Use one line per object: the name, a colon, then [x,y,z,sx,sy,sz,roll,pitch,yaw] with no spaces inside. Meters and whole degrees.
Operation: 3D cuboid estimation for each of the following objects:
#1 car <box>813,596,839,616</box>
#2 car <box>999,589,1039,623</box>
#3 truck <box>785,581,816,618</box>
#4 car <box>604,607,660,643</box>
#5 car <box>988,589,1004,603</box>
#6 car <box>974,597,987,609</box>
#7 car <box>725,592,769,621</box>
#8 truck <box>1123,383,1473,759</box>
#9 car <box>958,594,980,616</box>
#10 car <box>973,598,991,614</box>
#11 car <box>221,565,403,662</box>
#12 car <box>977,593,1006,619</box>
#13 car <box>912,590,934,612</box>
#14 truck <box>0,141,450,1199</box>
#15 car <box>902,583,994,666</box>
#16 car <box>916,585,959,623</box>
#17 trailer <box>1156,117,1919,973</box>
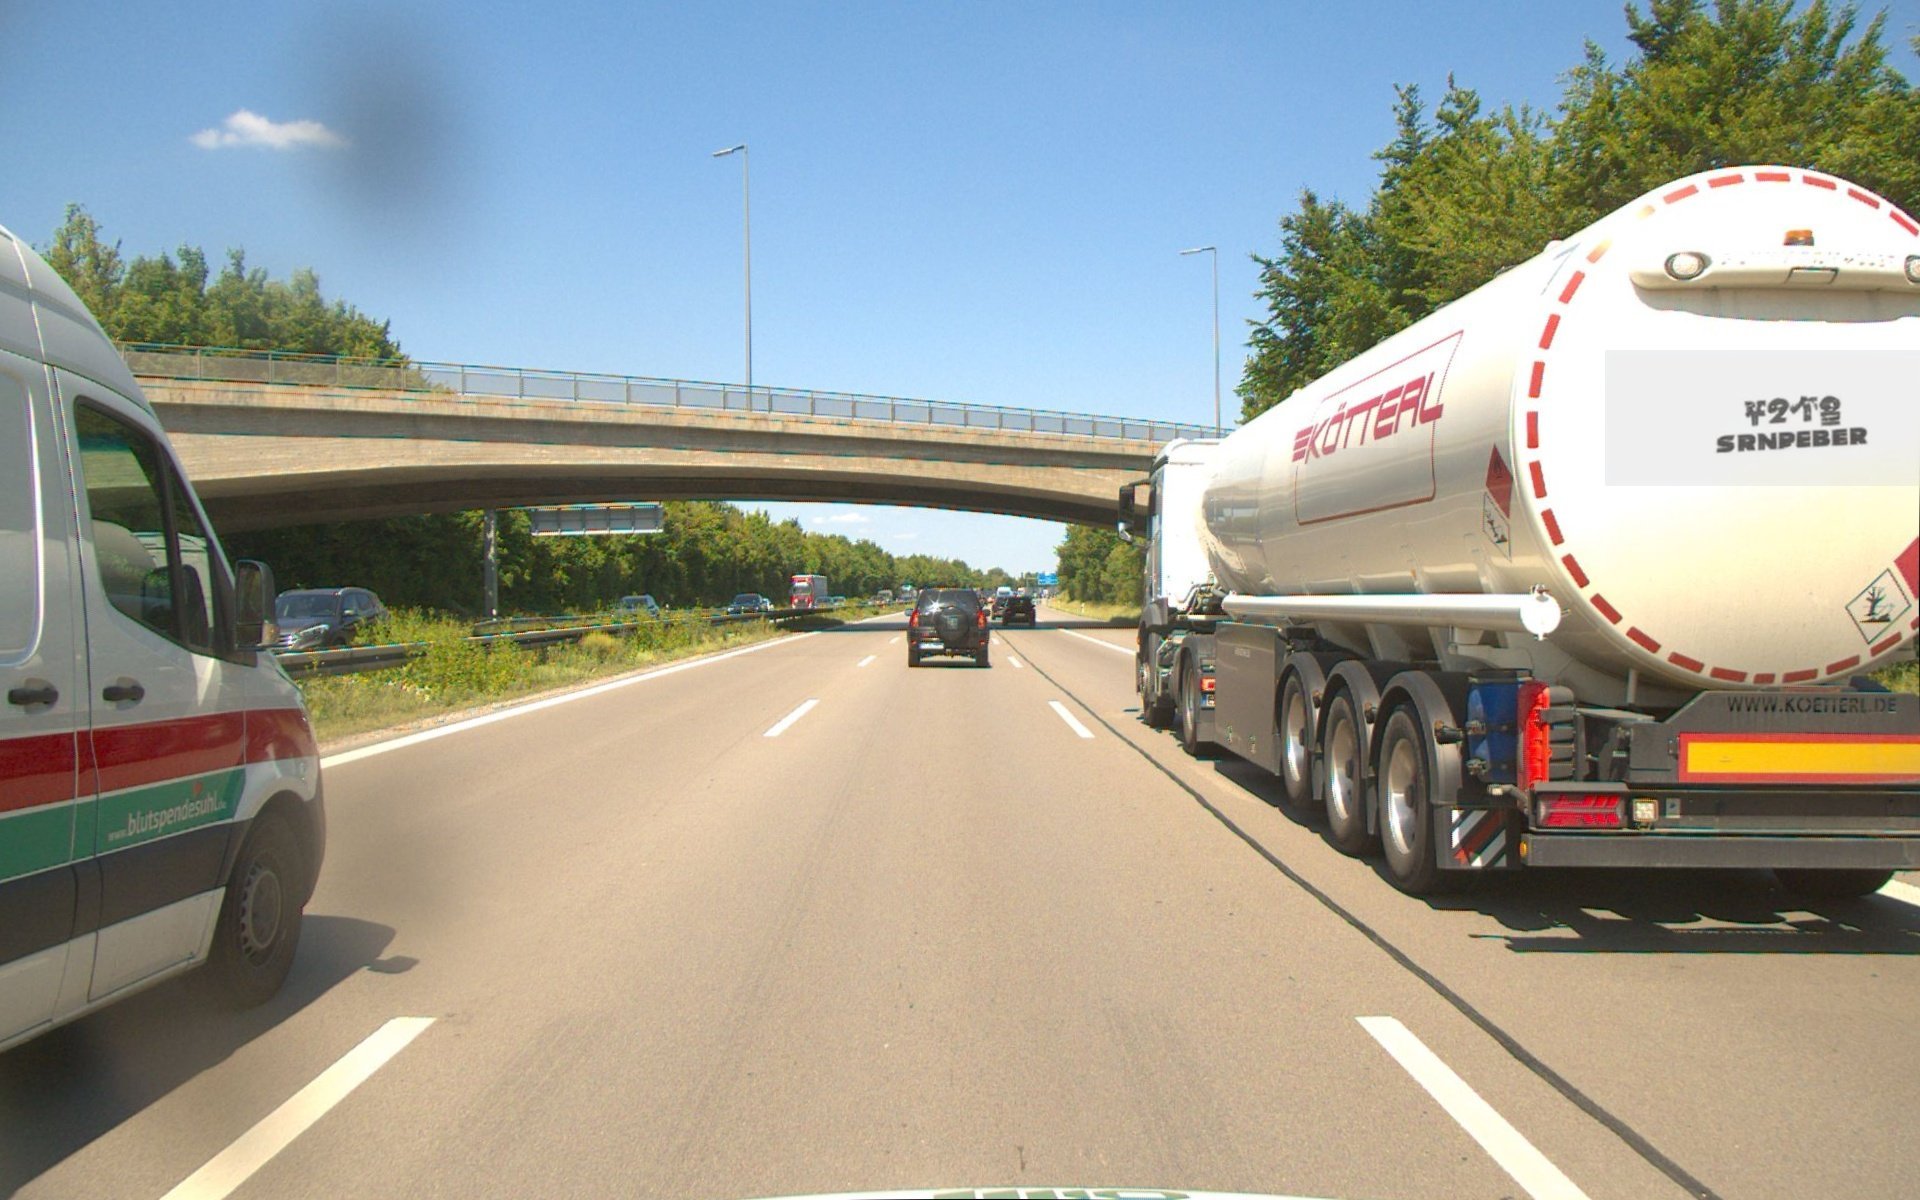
car: [-10.905,0.441,134.614,1.739,1.499,4.419,-3,0,-1]
car: [3.094,0.341,87.373,1.952,1.713,4.000,-1,-1,0]
truck: [-18.623,-0.017,193.224,2.728,4.131,6.210,-3,0,0]
car: [-15.587,1.185,78.761,1.861,1.669,3.999,-1,-1,-1]
car: [4.674,-0.571,213.497,1.776,1.777,3.998,-1,0,-3]
car: [3.171,0.448,253.624,1.775,1.777,3.999,-1,0,-2]
car: [-11.789,0.355,91.841,1.822,1.554,4.750,-1,0,0]
truck: [3.417,-0.269,18.394,2.584,3.434,6.487,0,0,0]
car: [0.870,0.498,159.240,1.953,2.049,4.767,-1,0,-1]
car: [2.517,0.666,193.706,1.953,1.780,4.204,-1,0,-1]
car: [-12.219,0.228,31.467,1.760,1.695,4.129,-1,0,1]
car: [2.029,0.414,107.036,1.805,1.640,3.999,-1,-1,0]
car: [-3.487,0.090,157.045,1.953,2.049,4.949,-2,0,0]
truck: [-3.298,0.177,4.163,1.953,2.587,6.691,1,0,0]
car: [-0.316,0.515,36.205,1.868,1.694,3.998,-1,0,-2]
car: [-1.029,0.180,79.368,1.953,1.736,4.336,-2,0,0]
trailer: [3.480,-0.226,12.266,2.594,3.449,11.150,0,0,-1]
